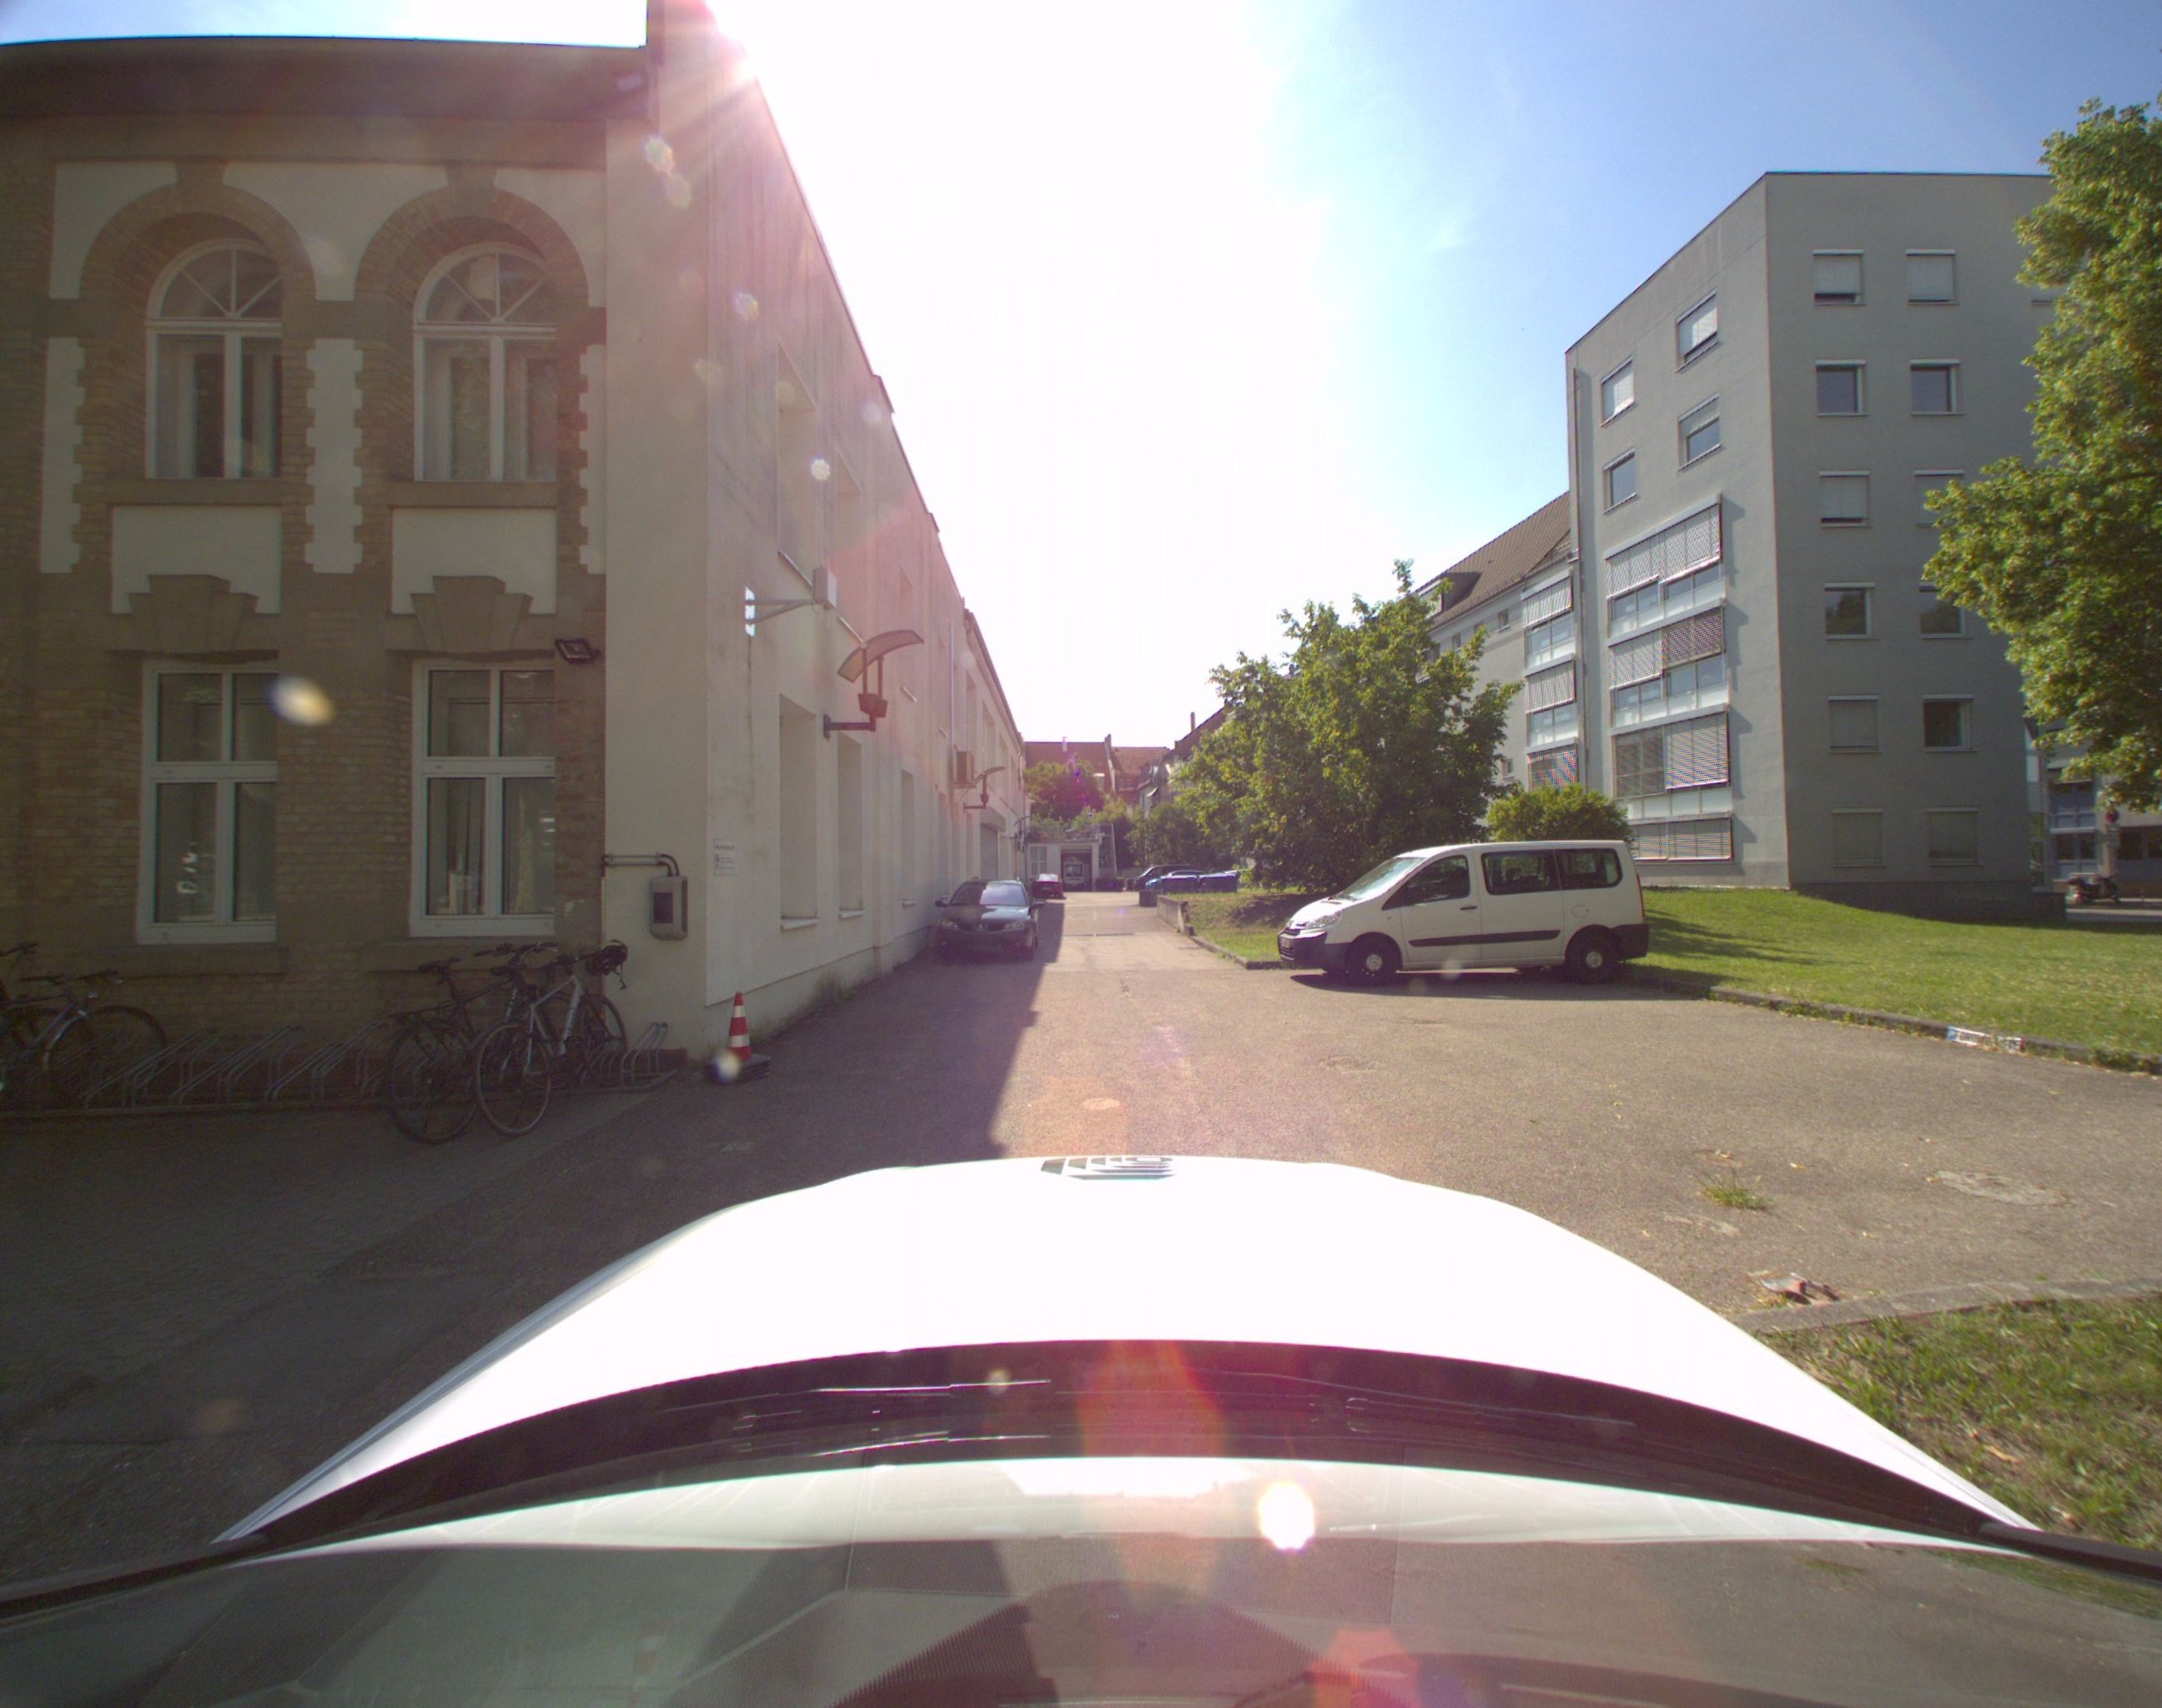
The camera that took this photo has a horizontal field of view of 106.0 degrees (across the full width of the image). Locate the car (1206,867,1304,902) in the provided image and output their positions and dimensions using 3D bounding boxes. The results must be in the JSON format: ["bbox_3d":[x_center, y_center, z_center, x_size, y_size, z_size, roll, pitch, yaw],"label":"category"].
[{"bbox_3d":[7.811,1.380,36.814,3.979,1.427,1.809,-2,-1,-4],"label":"car"}]

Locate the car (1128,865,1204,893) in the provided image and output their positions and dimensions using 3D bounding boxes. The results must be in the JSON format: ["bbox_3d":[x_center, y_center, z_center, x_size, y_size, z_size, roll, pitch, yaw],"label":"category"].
[{"bbox_3d":[6.014,1.723,57.990,4.958,1.767,2.086,-2,0,-14],"label":"car"}]

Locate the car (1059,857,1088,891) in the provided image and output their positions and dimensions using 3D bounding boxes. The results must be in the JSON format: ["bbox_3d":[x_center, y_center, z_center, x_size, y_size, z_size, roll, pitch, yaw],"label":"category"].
[{"bbox_3d":[-0.596,1.643,67.389,2.168,2.607,6.731,-2,-2,-1],"label":"car"}]

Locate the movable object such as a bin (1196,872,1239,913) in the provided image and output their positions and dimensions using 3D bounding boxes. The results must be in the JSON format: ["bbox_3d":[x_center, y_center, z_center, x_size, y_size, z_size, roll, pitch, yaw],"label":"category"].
[{"bbox_3d":[4.580,1.277,27.408,1.242,1.340,1.142,-1,-1,2],"label":"movable object such as a bin"}]

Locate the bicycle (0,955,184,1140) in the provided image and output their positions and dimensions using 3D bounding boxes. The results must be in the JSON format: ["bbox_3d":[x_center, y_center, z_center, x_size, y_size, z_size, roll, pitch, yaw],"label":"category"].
[{"bbox_3d":[-6.694,1.224,5.006,0.443,0.992,1.686,-2,0,2],"label":"bicycle"}]

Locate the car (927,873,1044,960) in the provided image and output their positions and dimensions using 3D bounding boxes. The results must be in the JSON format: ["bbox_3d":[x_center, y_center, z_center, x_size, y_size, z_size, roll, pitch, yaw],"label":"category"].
[{"bbox_3d":[-1.704,1.151,15.854,1.832,1.442,4.426,1,-3,-1],"label":"car"}]

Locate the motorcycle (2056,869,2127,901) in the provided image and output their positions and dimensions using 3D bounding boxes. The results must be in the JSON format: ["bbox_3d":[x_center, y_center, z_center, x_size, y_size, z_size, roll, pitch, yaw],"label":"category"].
[{"bbox_3d":[40.514,1.244,32.667,2.049,1.246,0.630,-1,-1,0],"label":"motorcycle"}]

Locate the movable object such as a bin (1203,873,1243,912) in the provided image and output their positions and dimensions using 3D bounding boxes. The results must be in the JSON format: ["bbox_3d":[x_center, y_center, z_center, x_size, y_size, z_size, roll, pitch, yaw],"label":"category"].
[{"bbox_3d":[5.059,1.346,29.082,1.153,1.336,1.140,-1,-1,-4],"label":"movable object such as a bin"}]

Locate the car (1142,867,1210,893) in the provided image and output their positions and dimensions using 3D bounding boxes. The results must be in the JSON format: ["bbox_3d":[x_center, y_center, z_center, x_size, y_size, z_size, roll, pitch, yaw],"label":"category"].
[{"bbox_3d":[6.346,1.714,54.745,4.222,1.532,1.997,-2,0,-5],"label":"car"}]

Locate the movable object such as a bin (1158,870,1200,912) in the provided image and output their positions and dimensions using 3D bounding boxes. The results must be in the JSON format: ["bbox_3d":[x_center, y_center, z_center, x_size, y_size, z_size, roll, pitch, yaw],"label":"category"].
[{"bbox_3d":[3.271,1.253,27.327,1.243,1.319,1.142,-3,-3,1],"label":"movable object such as a bin"}]

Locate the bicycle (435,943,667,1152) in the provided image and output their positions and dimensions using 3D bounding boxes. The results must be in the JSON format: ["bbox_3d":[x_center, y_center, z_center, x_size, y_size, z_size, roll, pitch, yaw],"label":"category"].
[{"bbox_3d":[-3.347,1.161,5.309,0.443,0.992,1.542,-2,0,2],"label":"bicycle"}]

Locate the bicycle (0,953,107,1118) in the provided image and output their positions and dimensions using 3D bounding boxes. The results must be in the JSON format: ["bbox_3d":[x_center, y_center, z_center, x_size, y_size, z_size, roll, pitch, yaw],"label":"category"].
[{"bbox_3d":[-7.194,1.208,4.969,0.443,0.992,1.667,-2,0,2],"label":"bicycle"}]

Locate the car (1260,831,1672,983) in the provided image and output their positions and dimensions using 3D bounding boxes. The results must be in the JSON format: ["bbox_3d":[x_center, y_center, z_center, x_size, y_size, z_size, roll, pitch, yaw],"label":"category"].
[{"bbox_3d":[5.322,0.716,11.792,5.007,1.933,2.000,-1,-1,0],"label":"car"}]

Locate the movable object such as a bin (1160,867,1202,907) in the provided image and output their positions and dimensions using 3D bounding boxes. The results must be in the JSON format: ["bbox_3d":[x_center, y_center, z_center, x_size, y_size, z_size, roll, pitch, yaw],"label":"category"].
[{"bbox_3d":[3.554,1.173,29.016,1.245,1.355,1.127,-1,-1,-4],"label":"movable object such as a bin"}]

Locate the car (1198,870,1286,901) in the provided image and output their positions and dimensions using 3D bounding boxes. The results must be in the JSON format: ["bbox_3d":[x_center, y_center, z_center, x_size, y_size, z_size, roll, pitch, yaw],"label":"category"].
[{"bbox_3d":[7.890,1.525,40.207,3.976,1.394,1.688,-2,-1,-2],"label":"car"}]

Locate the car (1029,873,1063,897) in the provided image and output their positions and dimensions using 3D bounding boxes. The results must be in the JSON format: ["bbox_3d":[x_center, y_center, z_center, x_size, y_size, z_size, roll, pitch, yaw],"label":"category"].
[{"bbox_3d":[-2.003,1.778,47.523,1.847,1.320,3.997,1,-1,-2],"label":"car"}]

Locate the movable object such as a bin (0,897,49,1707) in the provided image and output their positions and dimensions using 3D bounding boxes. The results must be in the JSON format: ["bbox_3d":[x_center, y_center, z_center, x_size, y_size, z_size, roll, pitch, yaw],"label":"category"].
[{"bbox_3d":[-2.354,0.788,0.673,1.241,1.431,1.349,-1,-1,-2],"label":"movable object such as a bin"}]

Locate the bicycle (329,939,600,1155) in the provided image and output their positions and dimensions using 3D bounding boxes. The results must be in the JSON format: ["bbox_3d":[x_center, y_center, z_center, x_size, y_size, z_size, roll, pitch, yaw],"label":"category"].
[{"bbox_3d":[-3.832,1.133,5.241,0.443,0.992,1.631,-2,0,2],"label":"bicycle"}]
